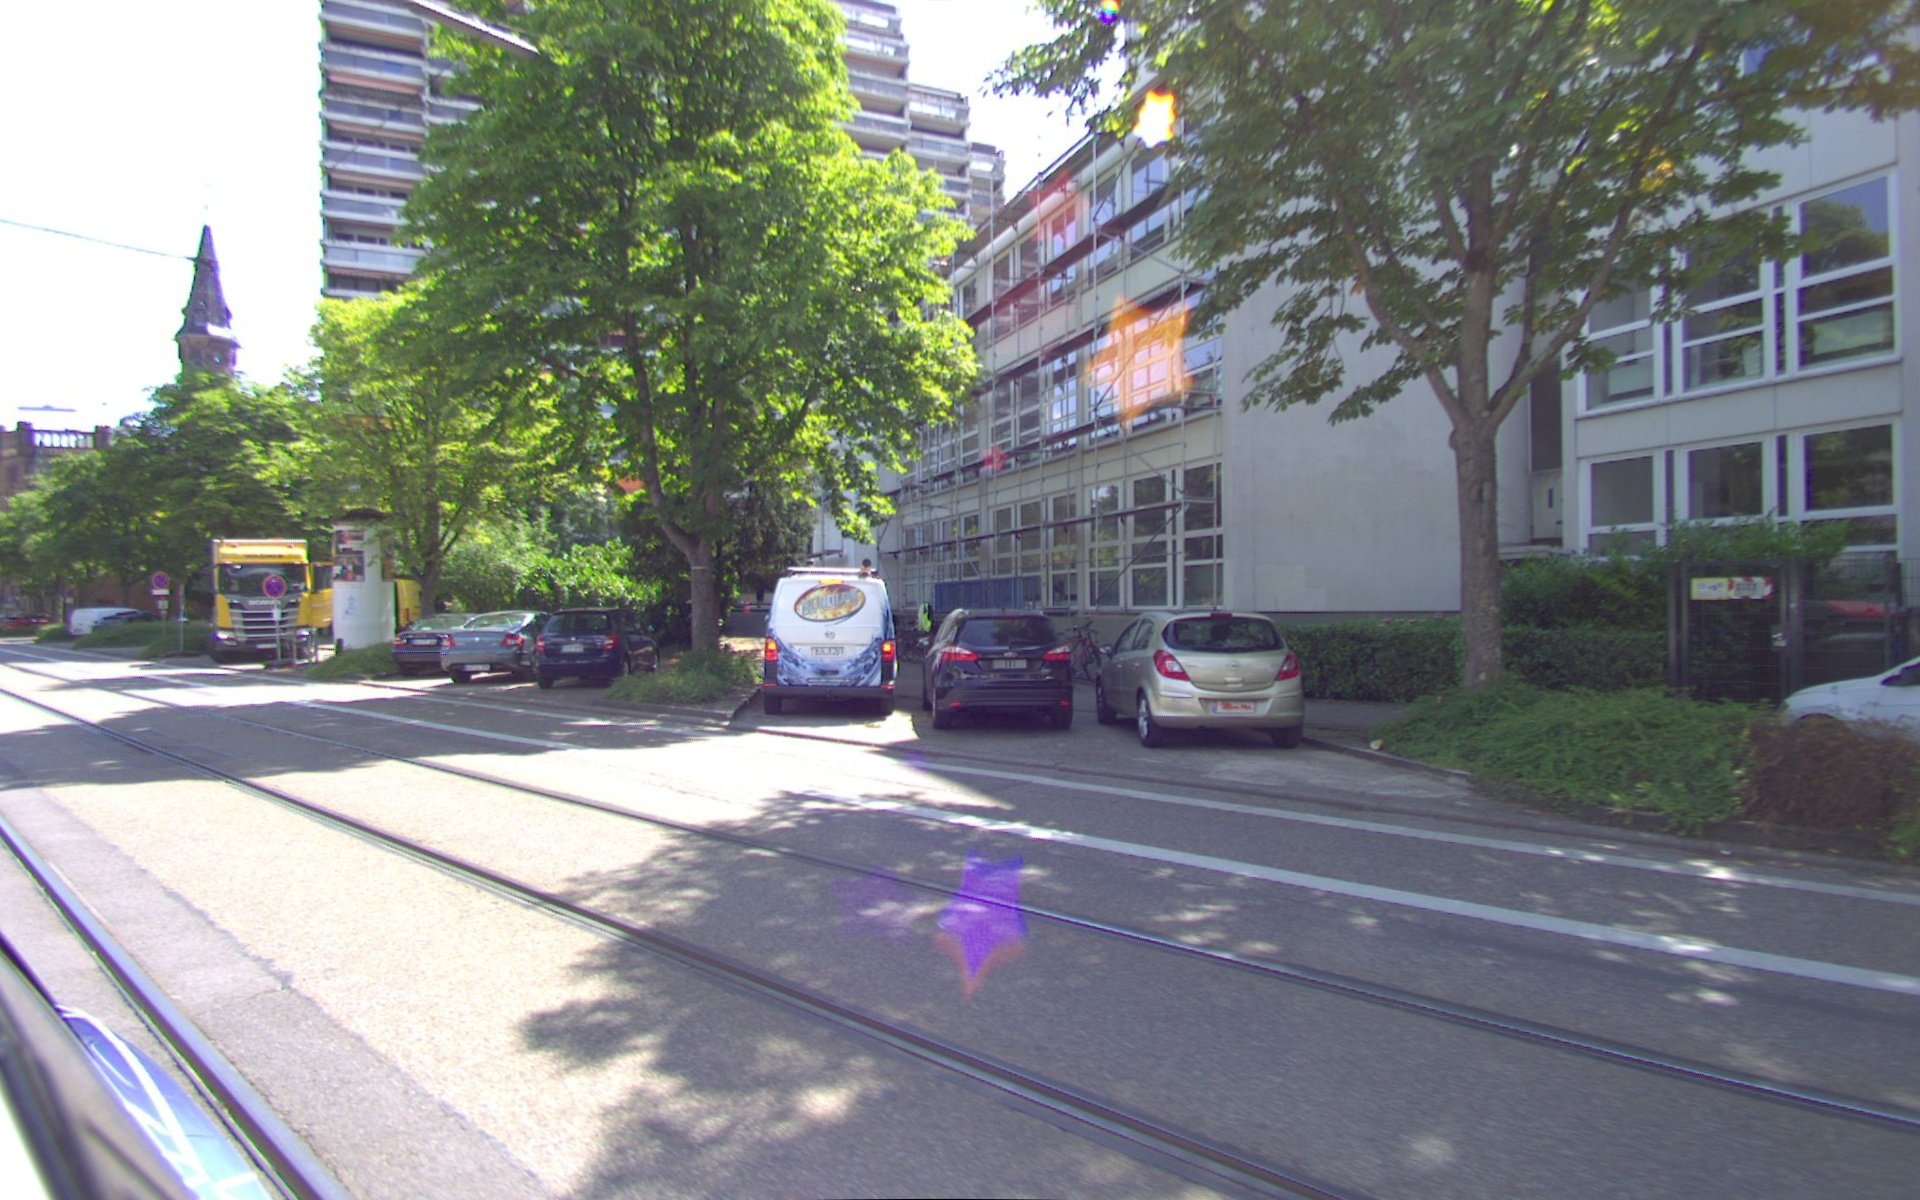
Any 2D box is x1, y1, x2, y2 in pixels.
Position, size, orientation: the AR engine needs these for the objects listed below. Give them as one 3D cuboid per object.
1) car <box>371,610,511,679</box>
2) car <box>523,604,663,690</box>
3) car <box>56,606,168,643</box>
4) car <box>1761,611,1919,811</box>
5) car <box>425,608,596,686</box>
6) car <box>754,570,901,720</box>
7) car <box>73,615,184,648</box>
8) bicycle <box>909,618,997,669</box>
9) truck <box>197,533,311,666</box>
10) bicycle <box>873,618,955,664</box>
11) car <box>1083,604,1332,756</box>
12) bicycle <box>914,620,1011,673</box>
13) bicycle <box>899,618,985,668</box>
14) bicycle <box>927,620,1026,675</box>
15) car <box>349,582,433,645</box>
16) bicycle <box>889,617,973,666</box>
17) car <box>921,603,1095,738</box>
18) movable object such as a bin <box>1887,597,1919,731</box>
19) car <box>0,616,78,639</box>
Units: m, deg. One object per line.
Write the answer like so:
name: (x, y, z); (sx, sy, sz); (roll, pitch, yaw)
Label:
car: (-12.193, 1.021, 24.041); (1.735, 1.518, 3.714); (0, -1, -6)
car: (-7.132, 0.890, 20.040); (1.666, 1.555, 3.713); (0, -1, -5)
car: (-45.924, 1.310, 54.960); (1.879, 1.804, 4.537); (-2, 0, 8)
car: (7.878, 0.798, 6.654); (1.735, 1.444, 4.006); (2, -2, -7)
car: (-9.574, 0.973, 21.957); (1.848, 1.518, 4.203); (0, -1, 0)
car: (-2.008, 0.657, 15.630); (1.892, 1.949, 4.763); (1, -2, -7)
car: (-41.092, 1.524, 50.176); (1.749, 1.405, 4.444); (-2, 0, 2)
bicycle: (-0.161, 1.018, 23.848); (1.983, 1.083, 0.559); (-2, 0, -24)
truck: (-24.106, -0.054, 34.632); (2.679, 3.870, 10.991); (-2, 1, -35)
bicycle: (-1.174, 1.031, 25.841); (1.983, 1.083, 0.559); (-2, 0, -24)
car: (2.675, 0.841, 11.843); (1.736, 1.478, 3.713); (1, -2, -5)
bicycle: (0.060, 1.032, 22.843); (2.100, 1.083, 0.559); (-2, 0, -24)
bicycle: (-0.421, 1.018, 24.414); (1.983, 1.083, 0.559); (-2, 0, -24)
bicycle: (0.380, 1.022, 22.199); (2.100, 1.083, 0.559); (-2, 0, -24)
car: (-25.637, 0.523, 45.884); (2.147, 2.585, 6.746); (-1, 1, -19)
bicycle: (-0.715, 1.015, 25.034); (1.983, 1.083, 0.559); (-2, 0, -24)
car: (0.485, 0.857, 13.391); (1.790, 1.518, 3.713); (1, -2, -5)
movable object such as a bin: (11.192, 0.684, 11.045); (1.489, 1.420, 1.744); (-1, -2, 41)
car: (-70.202, 2.065, 76.726); (1.981, 1.578, 4.762); (-1, 0, 12)
